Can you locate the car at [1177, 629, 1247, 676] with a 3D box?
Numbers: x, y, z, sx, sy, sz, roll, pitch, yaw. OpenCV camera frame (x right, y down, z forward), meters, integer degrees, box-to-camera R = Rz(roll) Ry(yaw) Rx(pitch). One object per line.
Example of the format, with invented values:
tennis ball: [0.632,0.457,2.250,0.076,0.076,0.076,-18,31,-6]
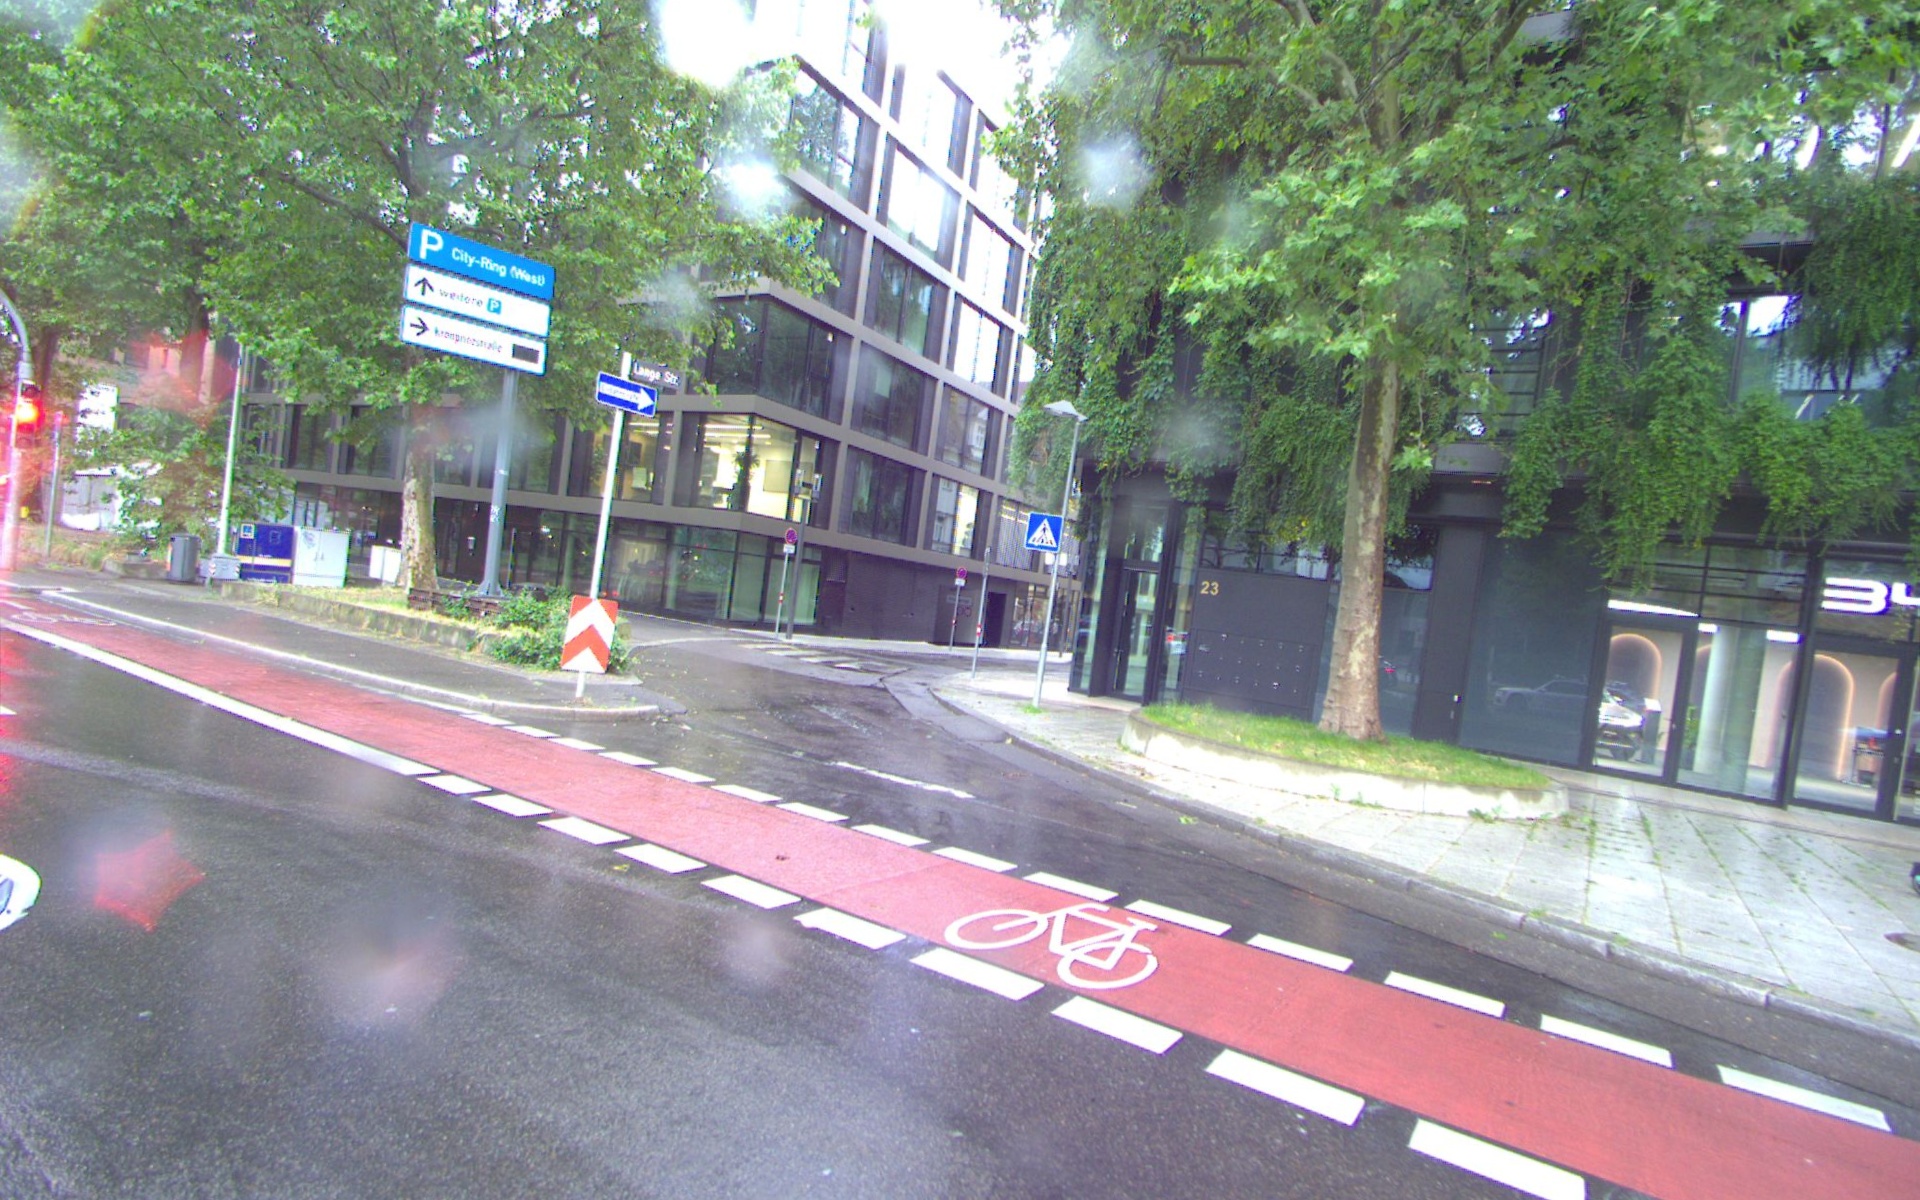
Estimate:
car: [11.037,2.314,43.928,1.814,1.607,3.997,6,-2,30]

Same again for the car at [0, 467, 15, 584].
car: [-12.223,-0.796,10.889,3.935,1.717,1.881,6,-2,33]

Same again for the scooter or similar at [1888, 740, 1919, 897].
scooter or similar: [8.430,1.877,8.140,0.528,1.297,1.183,7,-1,-8]
